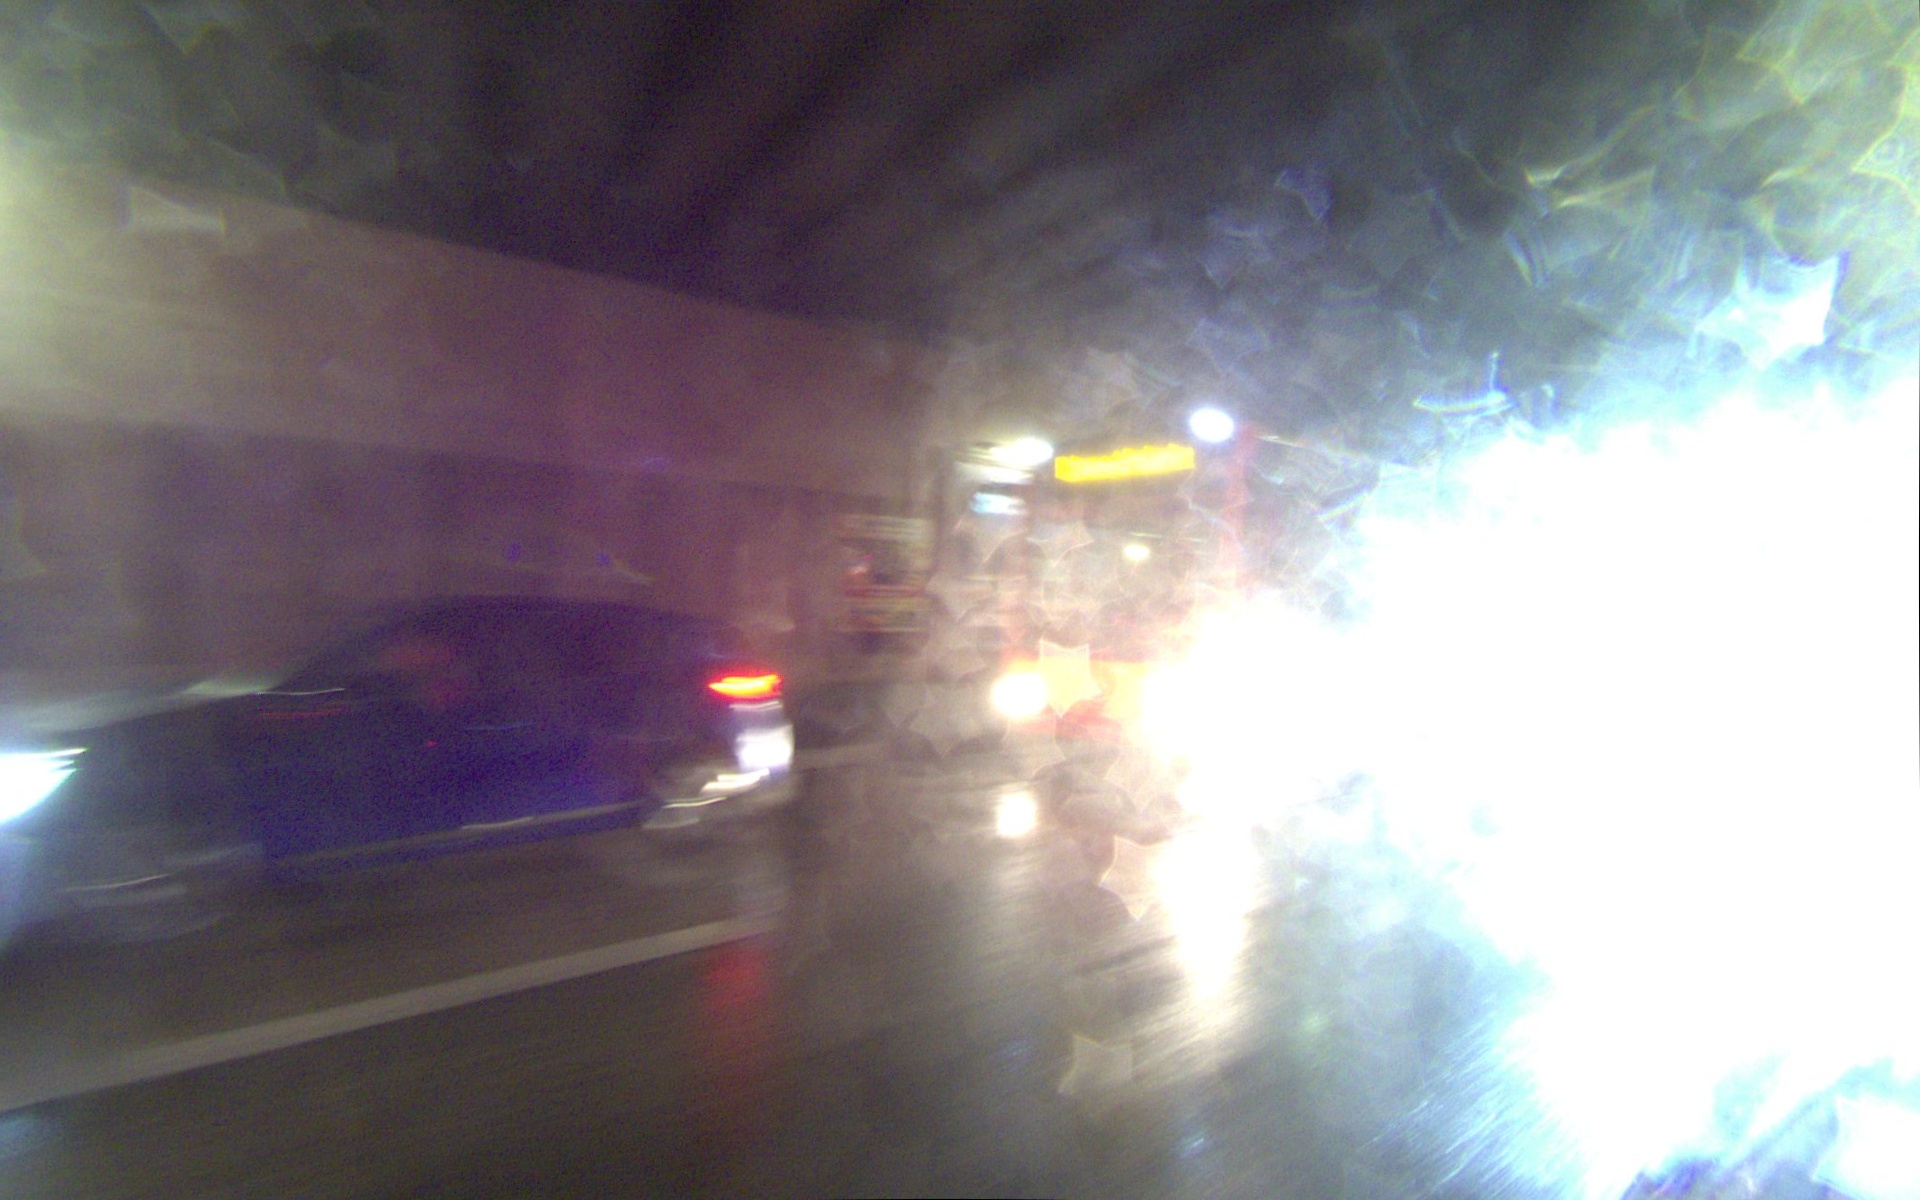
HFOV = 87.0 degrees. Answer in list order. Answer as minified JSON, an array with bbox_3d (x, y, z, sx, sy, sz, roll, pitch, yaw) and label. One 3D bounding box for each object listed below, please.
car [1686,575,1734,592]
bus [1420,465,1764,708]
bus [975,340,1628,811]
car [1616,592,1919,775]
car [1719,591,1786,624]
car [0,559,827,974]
[{"bbox_3d":[66.813,-1.474,90.175,1.875,1.407,4.815,1,1,17],"label":"car"},{"bbox_3d":[11.558,-0.203,17.894,9.535,3.279,2.737,0,1,-43],"label":"bus"},{"bbox_3d":[4.564,-0.198,11.389,9.535,3.318,2.737,0,1,-43],"label":"bus"},{"bbox_3d":[8.391,0.732,10.372,4.090,1.506,1.722,1,-2,-41],"label":"car"},{"bbox_3d":[39.312,0.337,50.294,1.739,1.464,3.940,3,2,25],"label":"car"},{"bbox_3d":[-2.919,0.596,5.434,4.090,1.505,1.723,0,2,-41],"label":"car"}]
